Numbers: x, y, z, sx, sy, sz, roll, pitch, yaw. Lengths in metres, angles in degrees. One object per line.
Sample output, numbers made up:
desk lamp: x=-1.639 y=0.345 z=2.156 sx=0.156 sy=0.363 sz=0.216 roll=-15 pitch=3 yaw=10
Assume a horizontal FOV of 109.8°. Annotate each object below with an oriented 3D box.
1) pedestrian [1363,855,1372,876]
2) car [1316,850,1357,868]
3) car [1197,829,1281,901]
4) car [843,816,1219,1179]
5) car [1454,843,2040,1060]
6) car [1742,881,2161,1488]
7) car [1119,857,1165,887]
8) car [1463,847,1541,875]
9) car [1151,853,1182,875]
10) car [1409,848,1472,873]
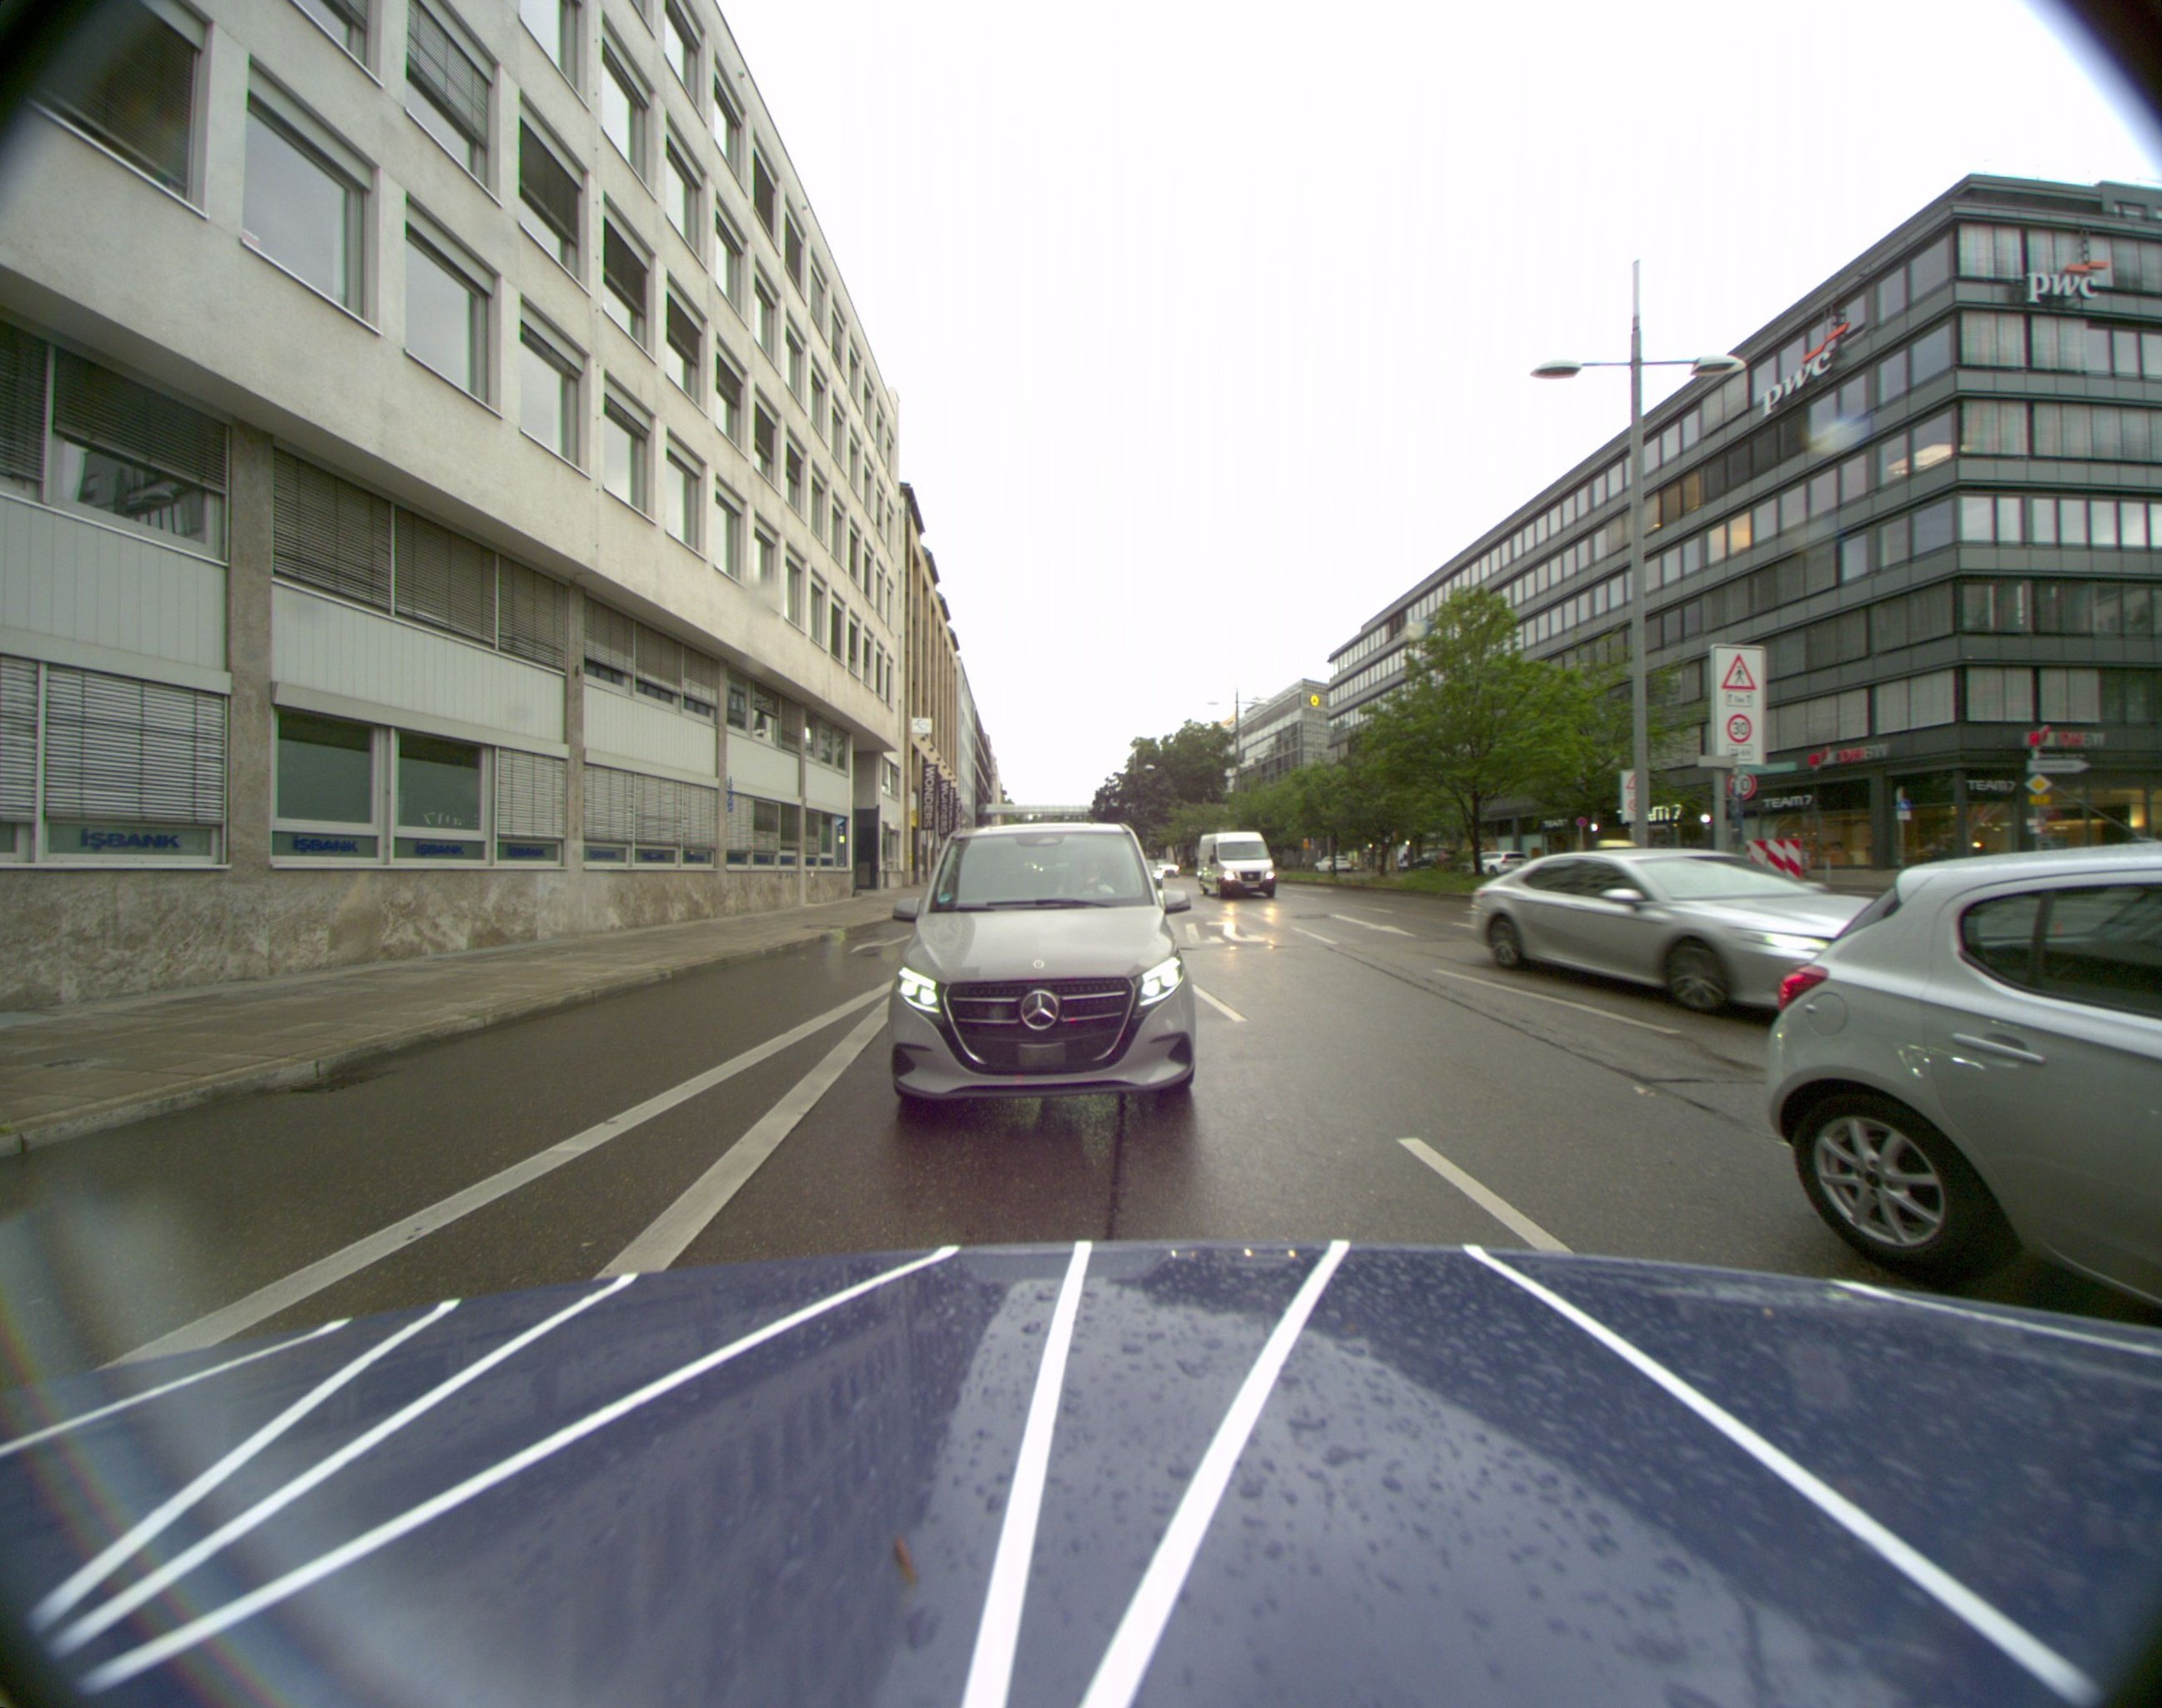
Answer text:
pedestrian: x=28.290 y=1.111 z=74.975 sx=0.689 sy=2.002 sz=0.501 roll=-2 pitch=0 yaw=-3
car: x=22.399 y=0.446 z=66.682 sx=1.999 sy=1.498 sz=3.999 roll=-2 pitch=0 yaw=-4
car: x=5.897 y=0.384 z=29.022 sx=1.951 sy=2.426 sz=5.480 roll=-2 pitch=0 yaw=0
car: x=-0.277 y=0.762 z=6.512 sx=1.916 sy=1.844 sz=5.026 roll=-2 pitch=0 yaw=0
car: x=6.097 y=0.725 z=7.992 sx=1.870 sy=1.524 sz=4.776 roll=-2 pitch=0 yaw=-1
car: x=3.518 y=0.846 z=1.126 sx=1.652 sy=1.427 sz=3.875 roll=-2 pitch=0 yaw=0
car: x=3.149 y=0.921 z=39.721 sx=1.776 sy=1.427 sz=4.093 roll=-2 pitch=0 yaw=-4
car: x=24.108 y=0.378 z=43.679 sx=1.999 sy=1.498 sz=3.999 roll=-2 pitch=0 yaw=-4
car: x=6.815 y=0.782 z=60.771 sx=1.766 sy=1.608 sz=3.494 roll=-2 pitch=0 yaw=-5
car: x=23.650 y=0.437 z=50.137 sx=1.999 sy=1.498 sz=4.106 roll=-2 pitch=0 yaw=-4
